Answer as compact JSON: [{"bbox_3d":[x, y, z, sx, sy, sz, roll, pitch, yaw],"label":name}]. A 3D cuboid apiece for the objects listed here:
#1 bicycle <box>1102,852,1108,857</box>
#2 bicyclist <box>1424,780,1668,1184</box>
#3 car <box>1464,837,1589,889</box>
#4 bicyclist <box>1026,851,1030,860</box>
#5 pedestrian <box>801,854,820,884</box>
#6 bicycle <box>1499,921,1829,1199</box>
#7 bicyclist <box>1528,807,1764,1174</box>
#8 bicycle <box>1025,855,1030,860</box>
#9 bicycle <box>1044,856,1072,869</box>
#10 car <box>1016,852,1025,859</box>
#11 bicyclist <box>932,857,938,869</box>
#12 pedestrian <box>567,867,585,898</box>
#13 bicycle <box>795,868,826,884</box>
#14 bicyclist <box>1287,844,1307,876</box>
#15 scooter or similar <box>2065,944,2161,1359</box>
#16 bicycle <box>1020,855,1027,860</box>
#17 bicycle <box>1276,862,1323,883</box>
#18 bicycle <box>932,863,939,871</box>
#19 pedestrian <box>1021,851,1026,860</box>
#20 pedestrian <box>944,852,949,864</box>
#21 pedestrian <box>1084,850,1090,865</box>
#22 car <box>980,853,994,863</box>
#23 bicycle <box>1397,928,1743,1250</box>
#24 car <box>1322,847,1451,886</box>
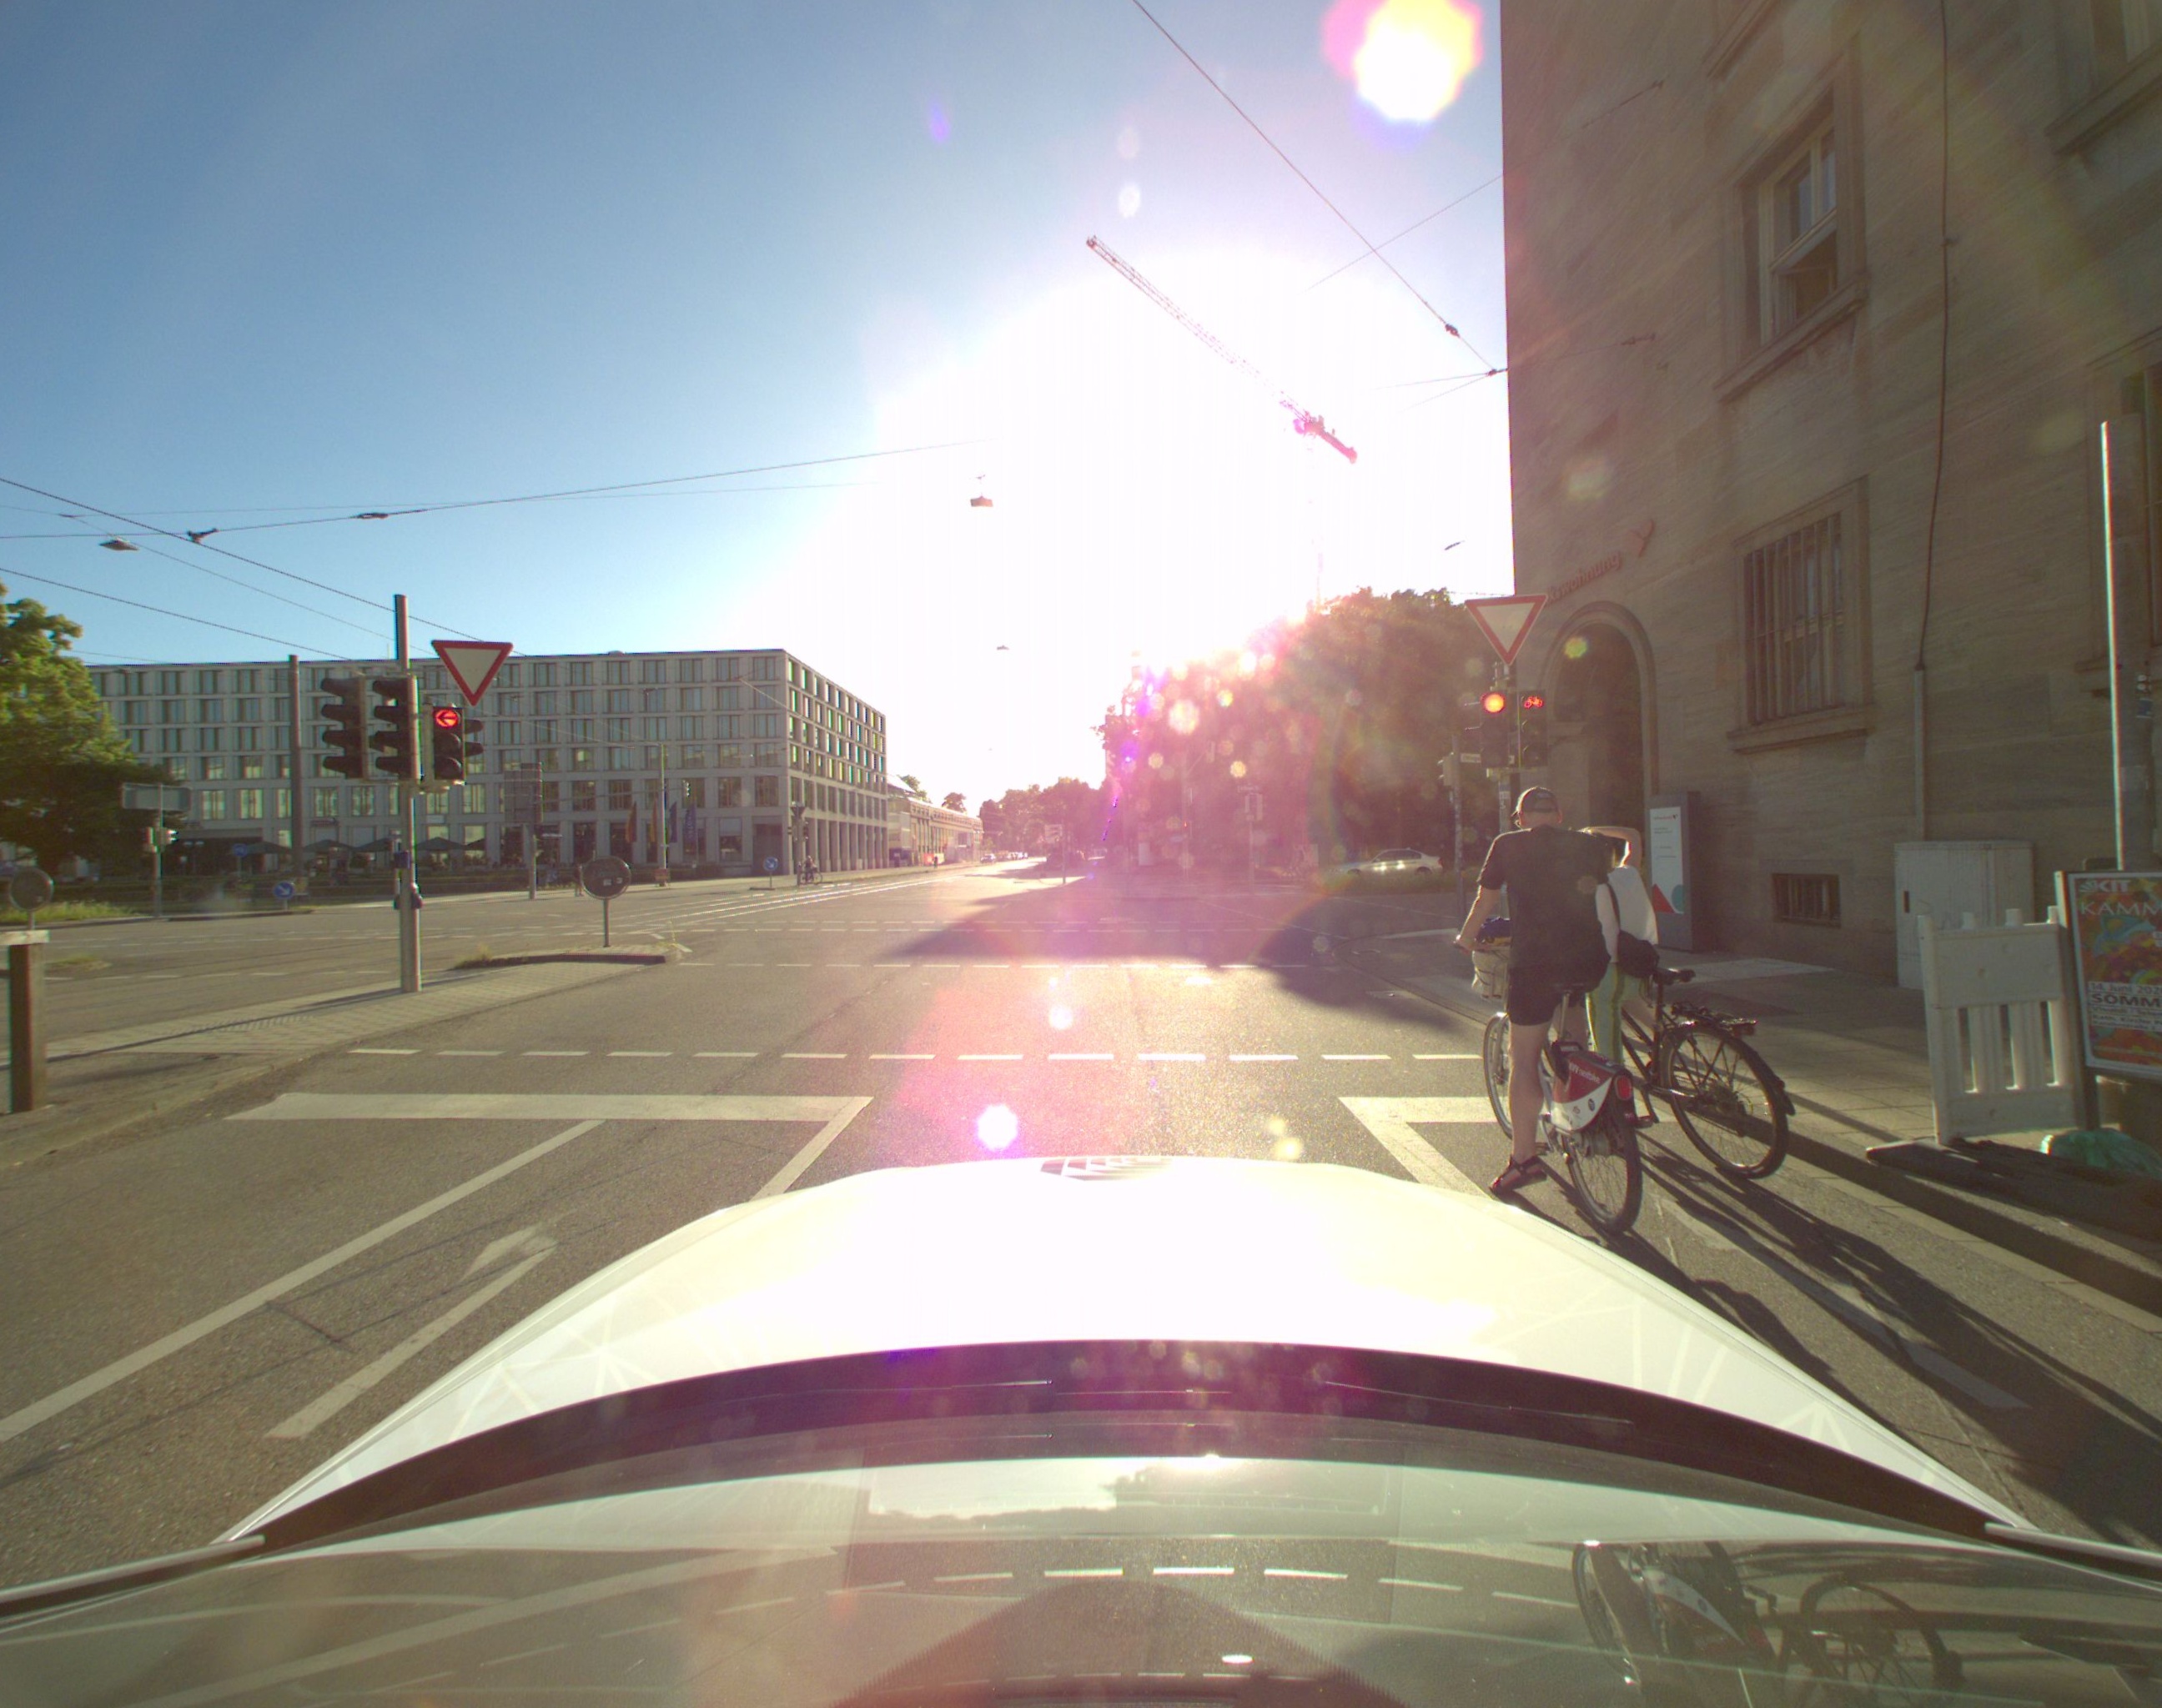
[{"bbox_3d":[5.925,0.073,201.657,0.890,1.219,2.784,0,-1,-9],"label":"bicycle"},{"bbox_3d":[2.183,0.547,3.946,0.621,1.715,0.913,-2,0,0],"label":"bicyclist"},{"bbox_3d":[17.887,0.348,32.856,3.970,2.014,2.002,0,-1,3],"label":"car"},{"bbox_3d":[-11.753,0.410,179.284,0.748,1.920,1.214,0,-1,1],"label":"bicyclist"},{"bbox_3d":[-14.707,0.795,44.290,0.735,1.595,0.577,-2,0,29],"label":"pedestrian"},{"bbox_3d":[2.971,0.966,4.402,0.579,1.044,1.748,-2,0,3],"label":"bicycle"},{"bbox_3d":[2.962,0.651,4.368,0.581,1.738,0.951,-2,0,2],"label":"bicyclist"},{"bbox_3d":[-11.745,0.789,179.399,0.748,1.205,3.108,0,-1,1],"label":"bicycle"},{"bbox_3d":[-1.895,0.712,67.438,2.240,0.940,0.653,-2,0,-4],"label":"bicycle"},{"bbox_3d":[-14.456,0.286,195.322,1.988,1.644,3.998,-2,0,-1],"label":"car"},{"bbox_3d":[-17.828,1.126,99.487,0.492,1.498,0.667,-2,0,4],"label":"bicyclist"},{"bbox_3d":[-28.223,1.581,45.519,0.600,1.681,0.608,-2,0,9],"label":"pedestrian"},{"bbox_3d":[-14.704,1.185,44.292,1.696,0.823,0.577,-2,0,29],"label":"bicycle"},{"bbox_3d":[9.623,0.264,36.295,0.742,1.406,0.704,-1,-1,8],"label":"bicyclist"},{"bbox_3d":[3.357,0.835,1.878,0.572,1.150,1.270,0,-2,-3],"label":"scooter or similar"},{"bbox_3d":[-12.300,0.736,174.310,0.746,1.205,3.114,0,-1,7],"label":"bicycle"},{"bbox_3d":[9.717,0.828,36.282,1.932,0.889,0.719,-1,-1,8],"label":"bicycle"},{"bbox_3d":[-17.809,1.578,99.487,0.492,0.839,1.158,-2,0,4],"label":"bicycle"},{"bbox_3d":[-12.309,0.312,174.382,0.746,2.063,1.052,0,-1,7],"label":"pedestrian"},{"bbox_3d":[-21.582,0.649,130.612,0.582,1.889,0.481,-1,-1,28],"label":"pedestrian"},{"bbox_3d":[0.721,0.425,97.786,0.576,1.689,0.584,-2,0,-6],"label":"pedestrian"},{"bbox_3d":[-15.829,0.714,137.406,1.988,1.599,3.999,-2,0,-1],"label":"car"},{"bbox_3d":[2.190,0.967,3.956,0.621,1.044,1.747,-2,0,1],"label":"bicycle"},{"bbox_3d":[12.440,0.502,33.413,4.559,1.516,2.001,0,-1,1],"label":"car"}]
